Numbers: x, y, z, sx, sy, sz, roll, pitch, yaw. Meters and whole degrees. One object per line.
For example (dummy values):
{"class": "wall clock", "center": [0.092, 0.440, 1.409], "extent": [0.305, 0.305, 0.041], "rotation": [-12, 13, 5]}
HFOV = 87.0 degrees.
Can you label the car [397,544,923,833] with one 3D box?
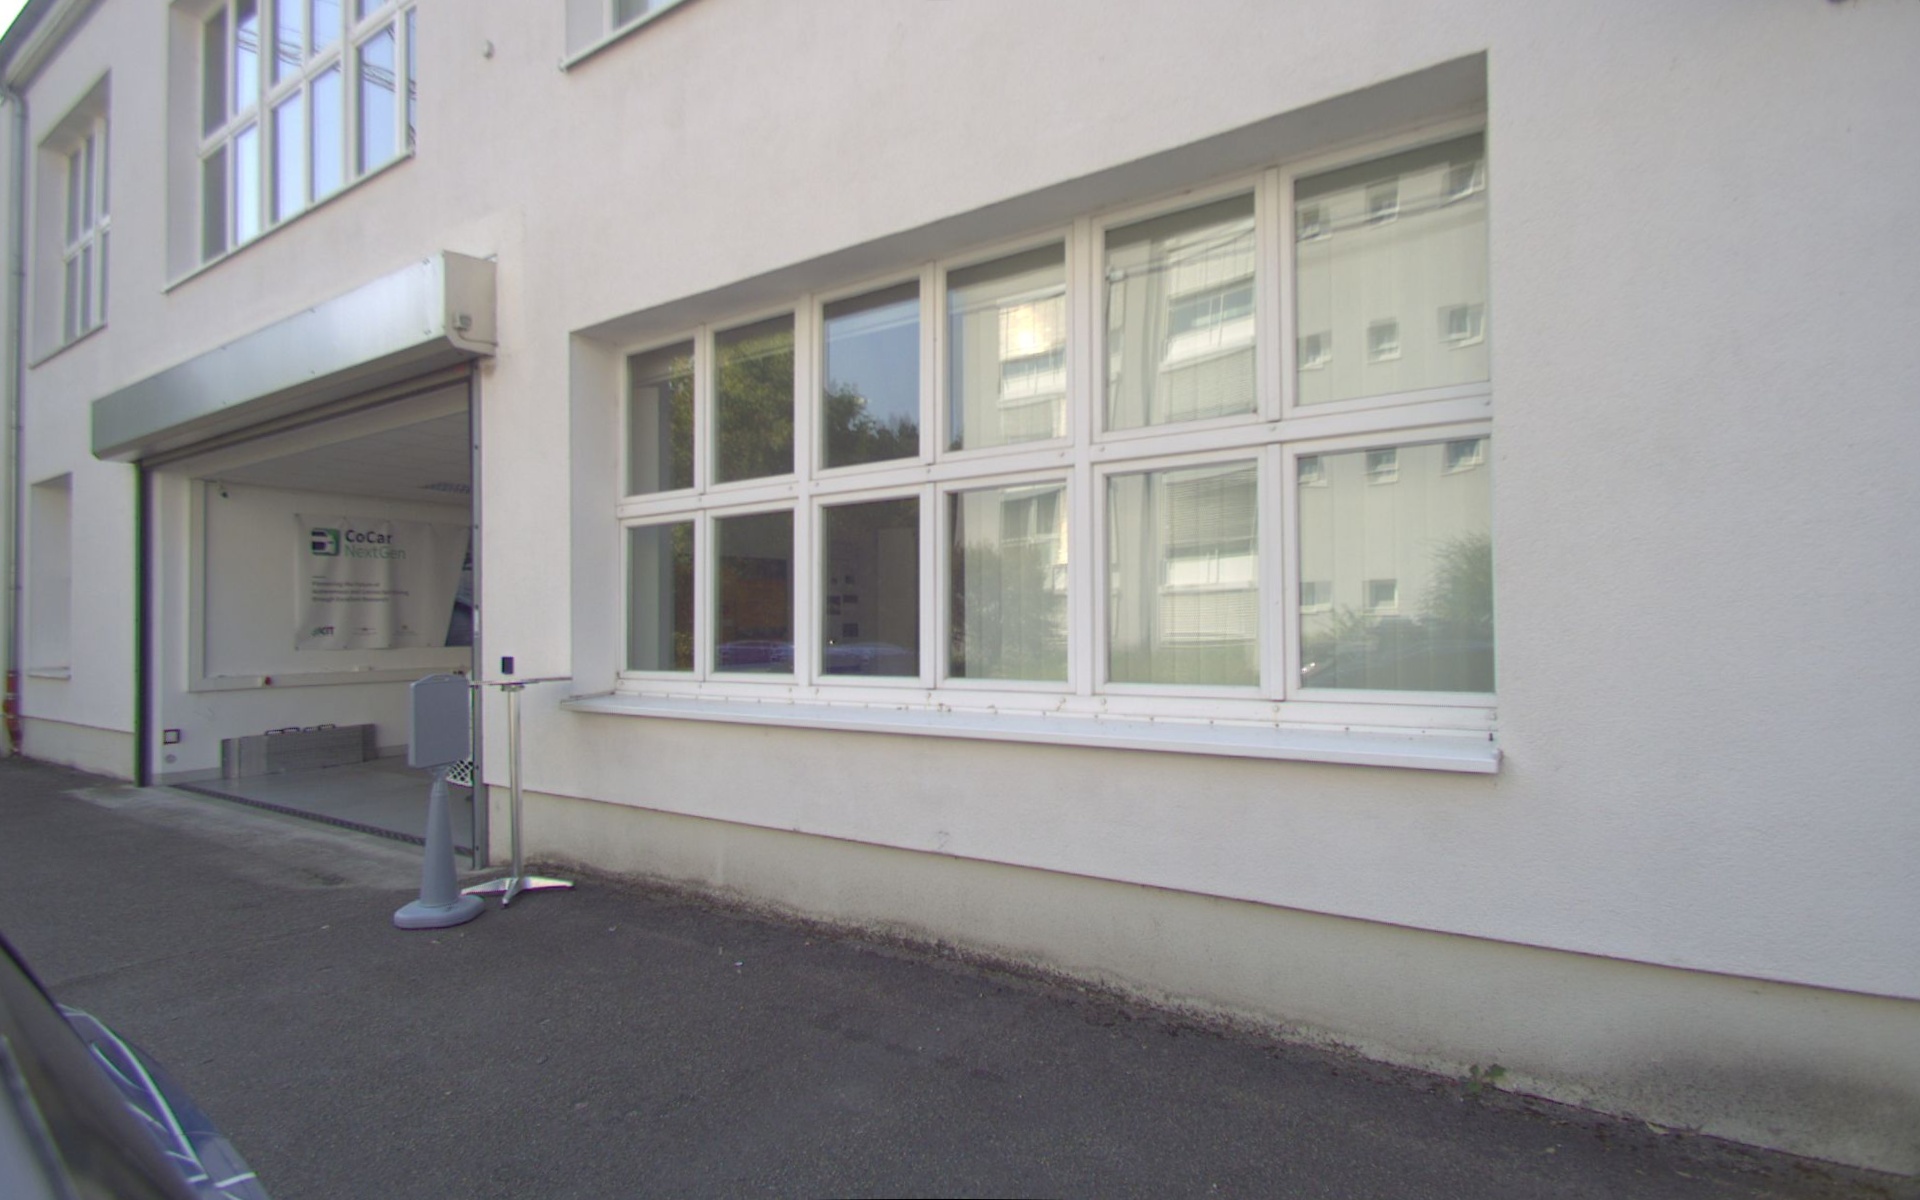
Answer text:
{"class": "car", "center": [-2.603, 0.671, 9.927], "extent": [2.051, 2.108, 4.705], "rotation": [-1, -1, 35]}
